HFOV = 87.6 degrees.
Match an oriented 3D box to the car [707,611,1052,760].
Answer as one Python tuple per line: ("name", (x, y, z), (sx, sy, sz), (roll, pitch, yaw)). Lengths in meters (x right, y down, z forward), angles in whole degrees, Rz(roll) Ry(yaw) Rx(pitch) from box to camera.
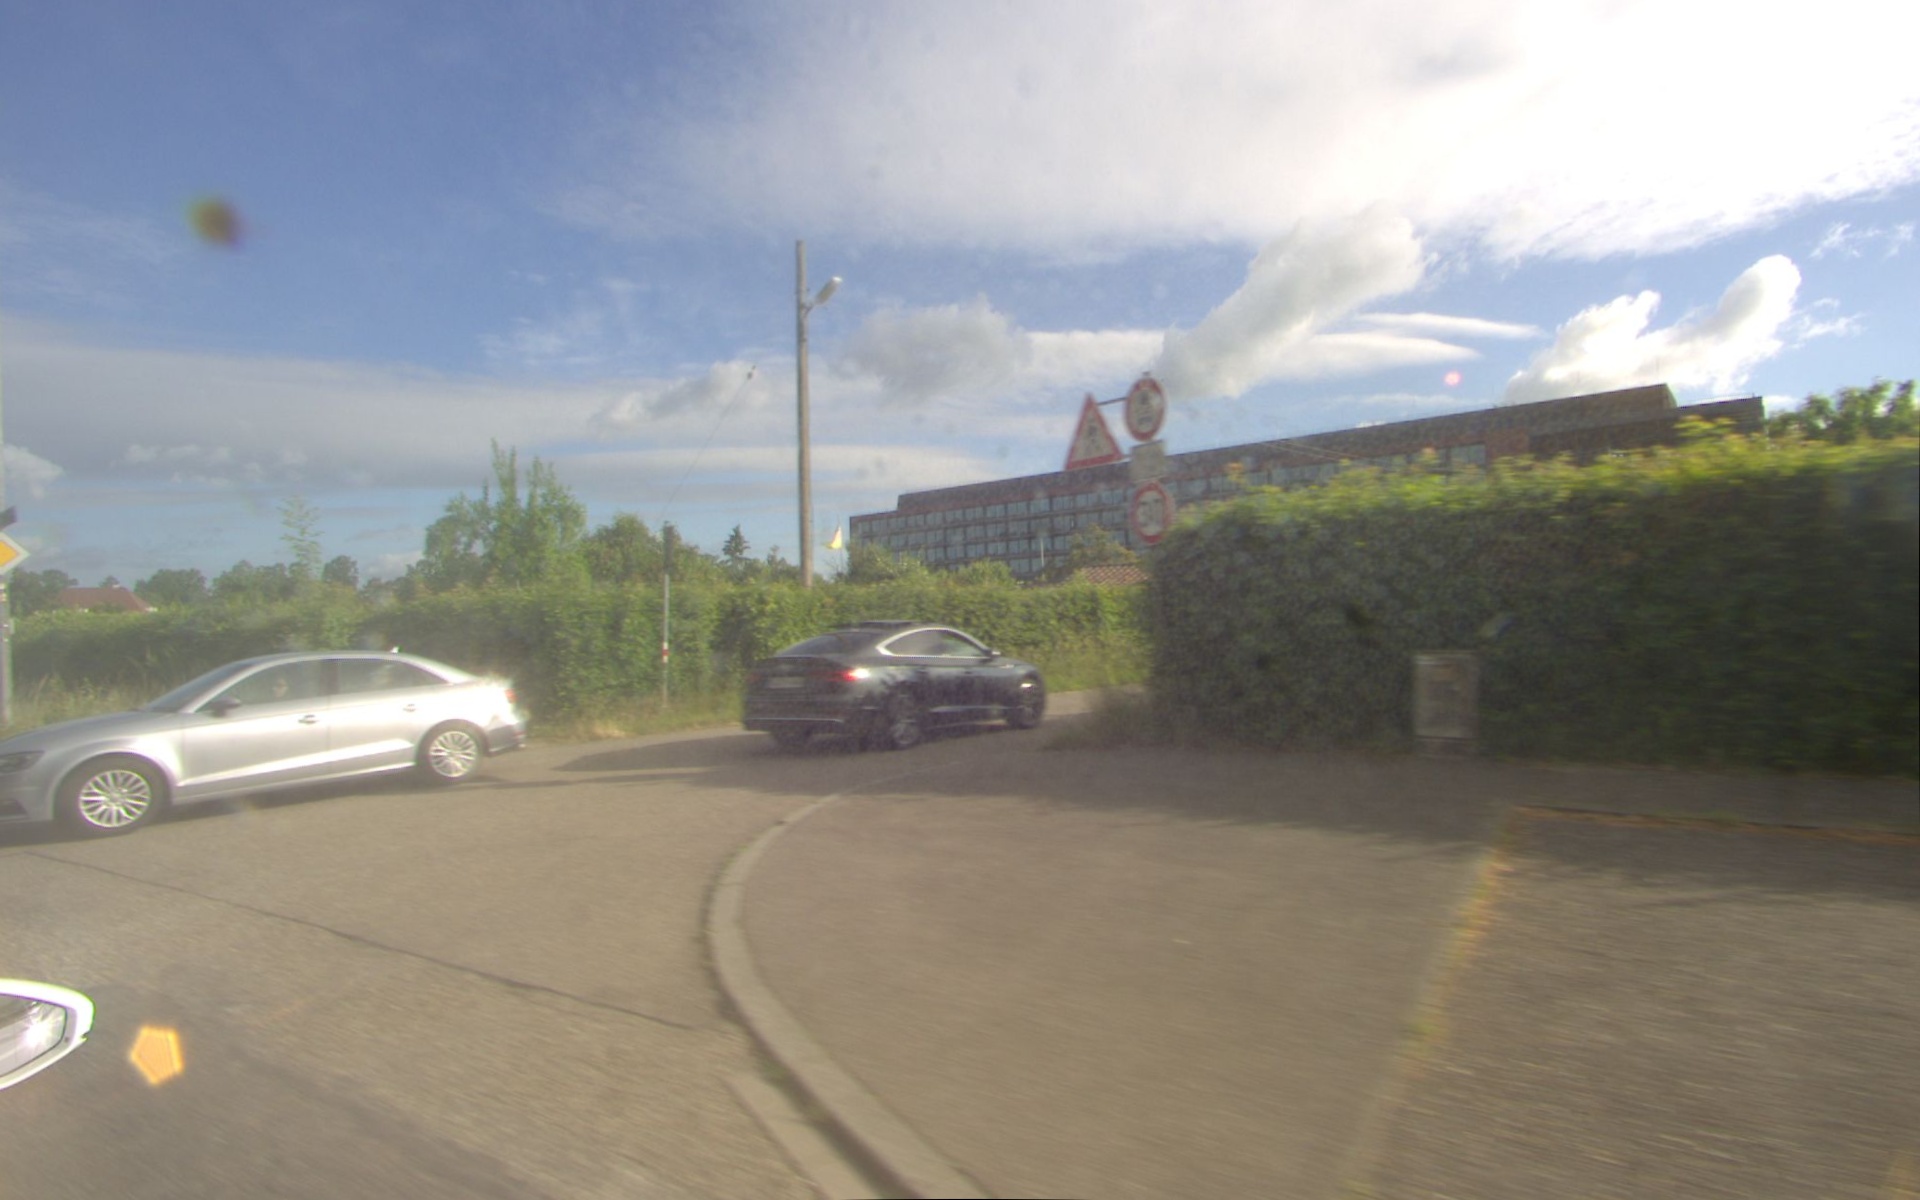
("car", (-0.762, 0.918, 12.141), (1.946, 1.452, 4.312), (-2, -2, 33))

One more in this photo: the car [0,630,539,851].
("car", (-6.602, 1.137, 9.566), (1.911, 1.462, 4.340), (-3, -1, 41))

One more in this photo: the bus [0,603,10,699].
("bus", (-29.930, 1.553, 27.365), (2.039, 2.783, 5.353), (-1, 1, 32))
